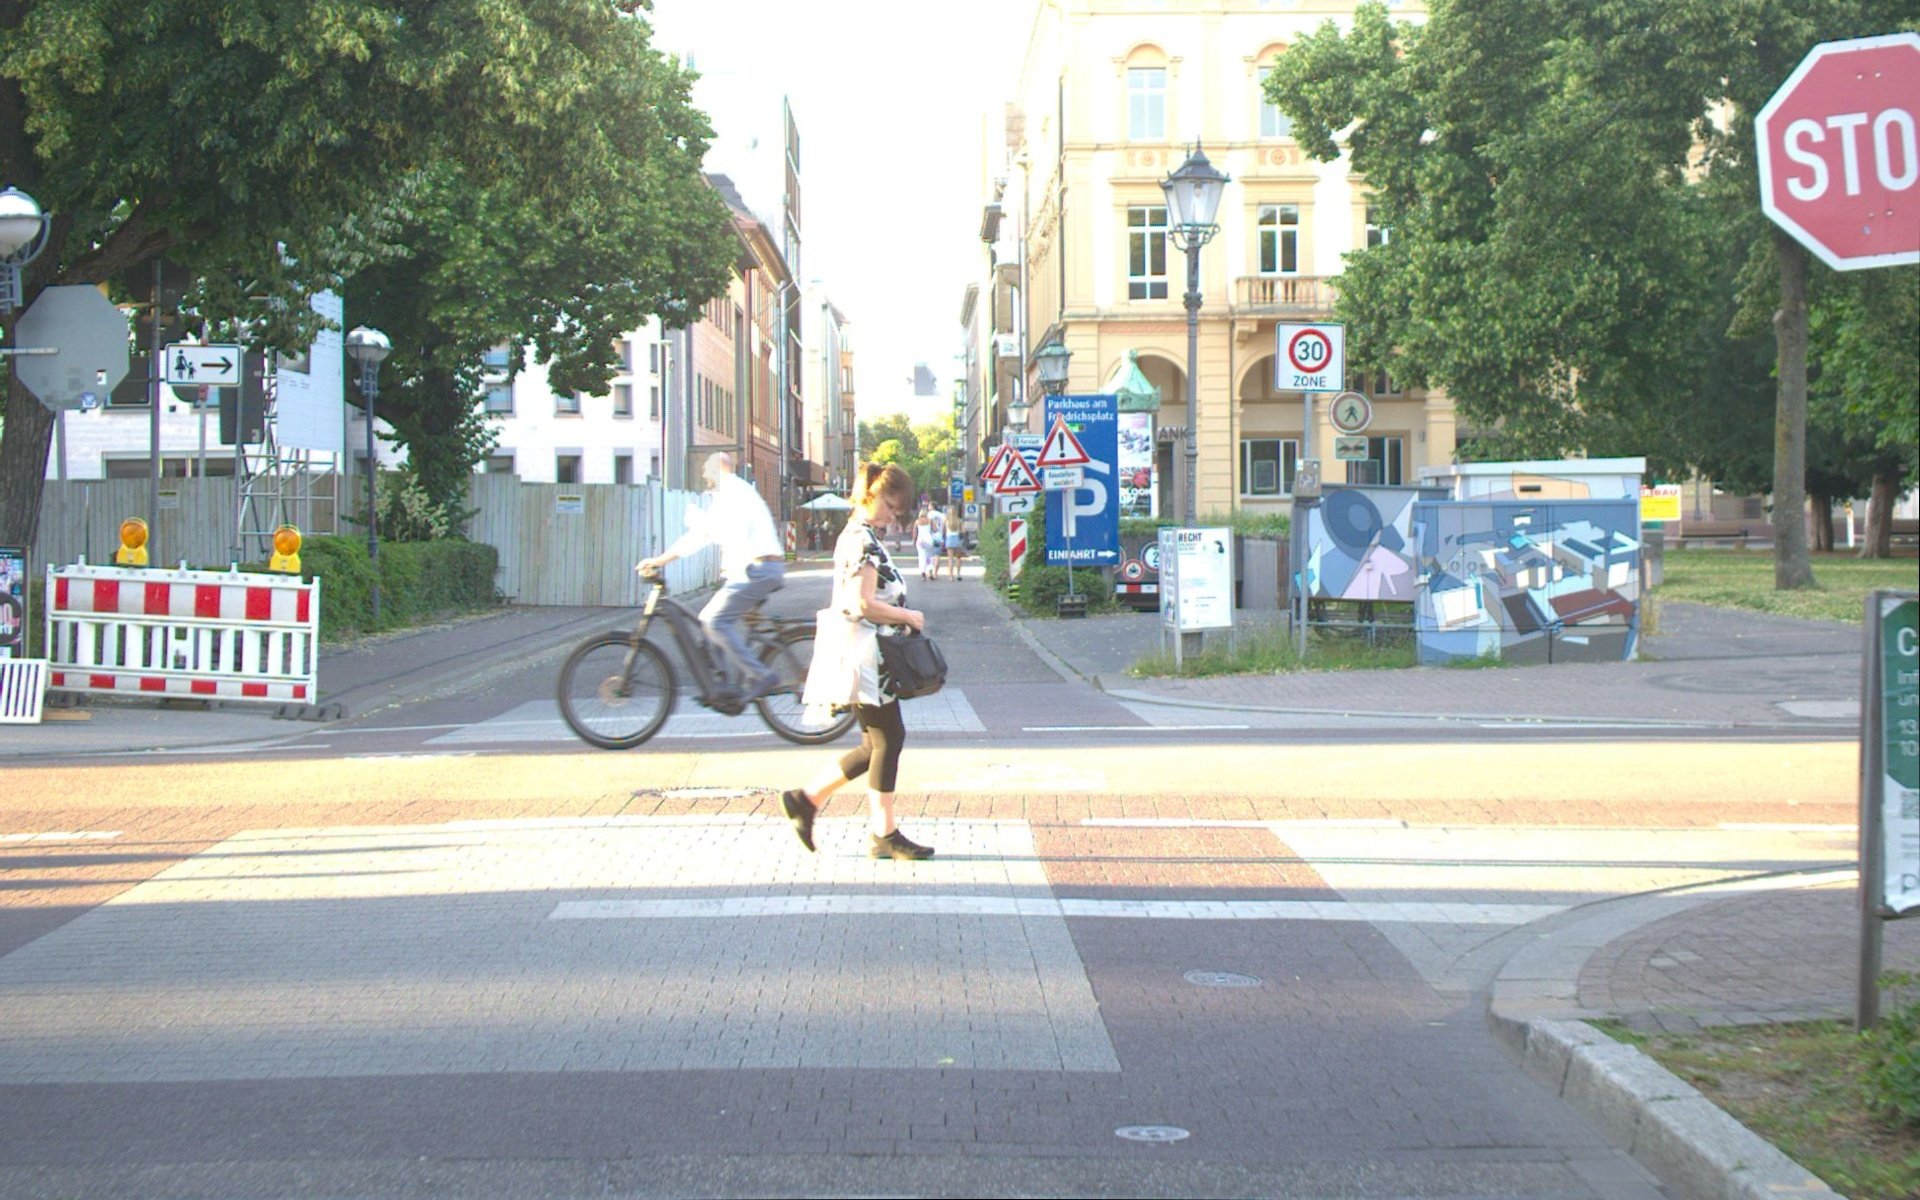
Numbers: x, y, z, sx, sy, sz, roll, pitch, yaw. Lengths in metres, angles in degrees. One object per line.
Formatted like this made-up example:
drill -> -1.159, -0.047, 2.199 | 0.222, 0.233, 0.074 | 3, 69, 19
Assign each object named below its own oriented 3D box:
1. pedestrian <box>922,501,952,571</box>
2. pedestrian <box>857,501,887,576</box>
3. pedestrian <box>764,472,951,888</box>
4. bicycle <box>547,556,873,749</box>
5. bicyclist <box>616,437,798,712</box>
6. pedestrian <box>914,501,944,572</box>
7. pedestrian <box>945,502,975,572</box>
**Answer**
pedestrian -> -0.539, -1.503, 80.908 | 0.657, 1.630, 0.745 | -1, 1, 0
pedestrian -> -2.074, -1.448, 80.691 | 0.657, 1.754, 0.745 | -1, 1, 0
pedestrian -> -0.424, 0.316, 14.426 | 0.734, 1.683, 0.836 | -1, 1, -1
bicycle -> -1.513, 0.305, 20.795 | 1.927, 1.117, 0.596 | -1, 1, -6
bicyclist -> -1.536, -0.161, 20.799 | 1.060, 1.627, 0.596 | -1, 1, -6
pedestrian -> -0.724, -1.466, 79.412 | 0.657, 1.611, 0.745 | -1, 1, 0
pedestrian -> -0.007, -1.457, 79.449 | 0.657, 1.611, 0.745 | -1, 1, 0
